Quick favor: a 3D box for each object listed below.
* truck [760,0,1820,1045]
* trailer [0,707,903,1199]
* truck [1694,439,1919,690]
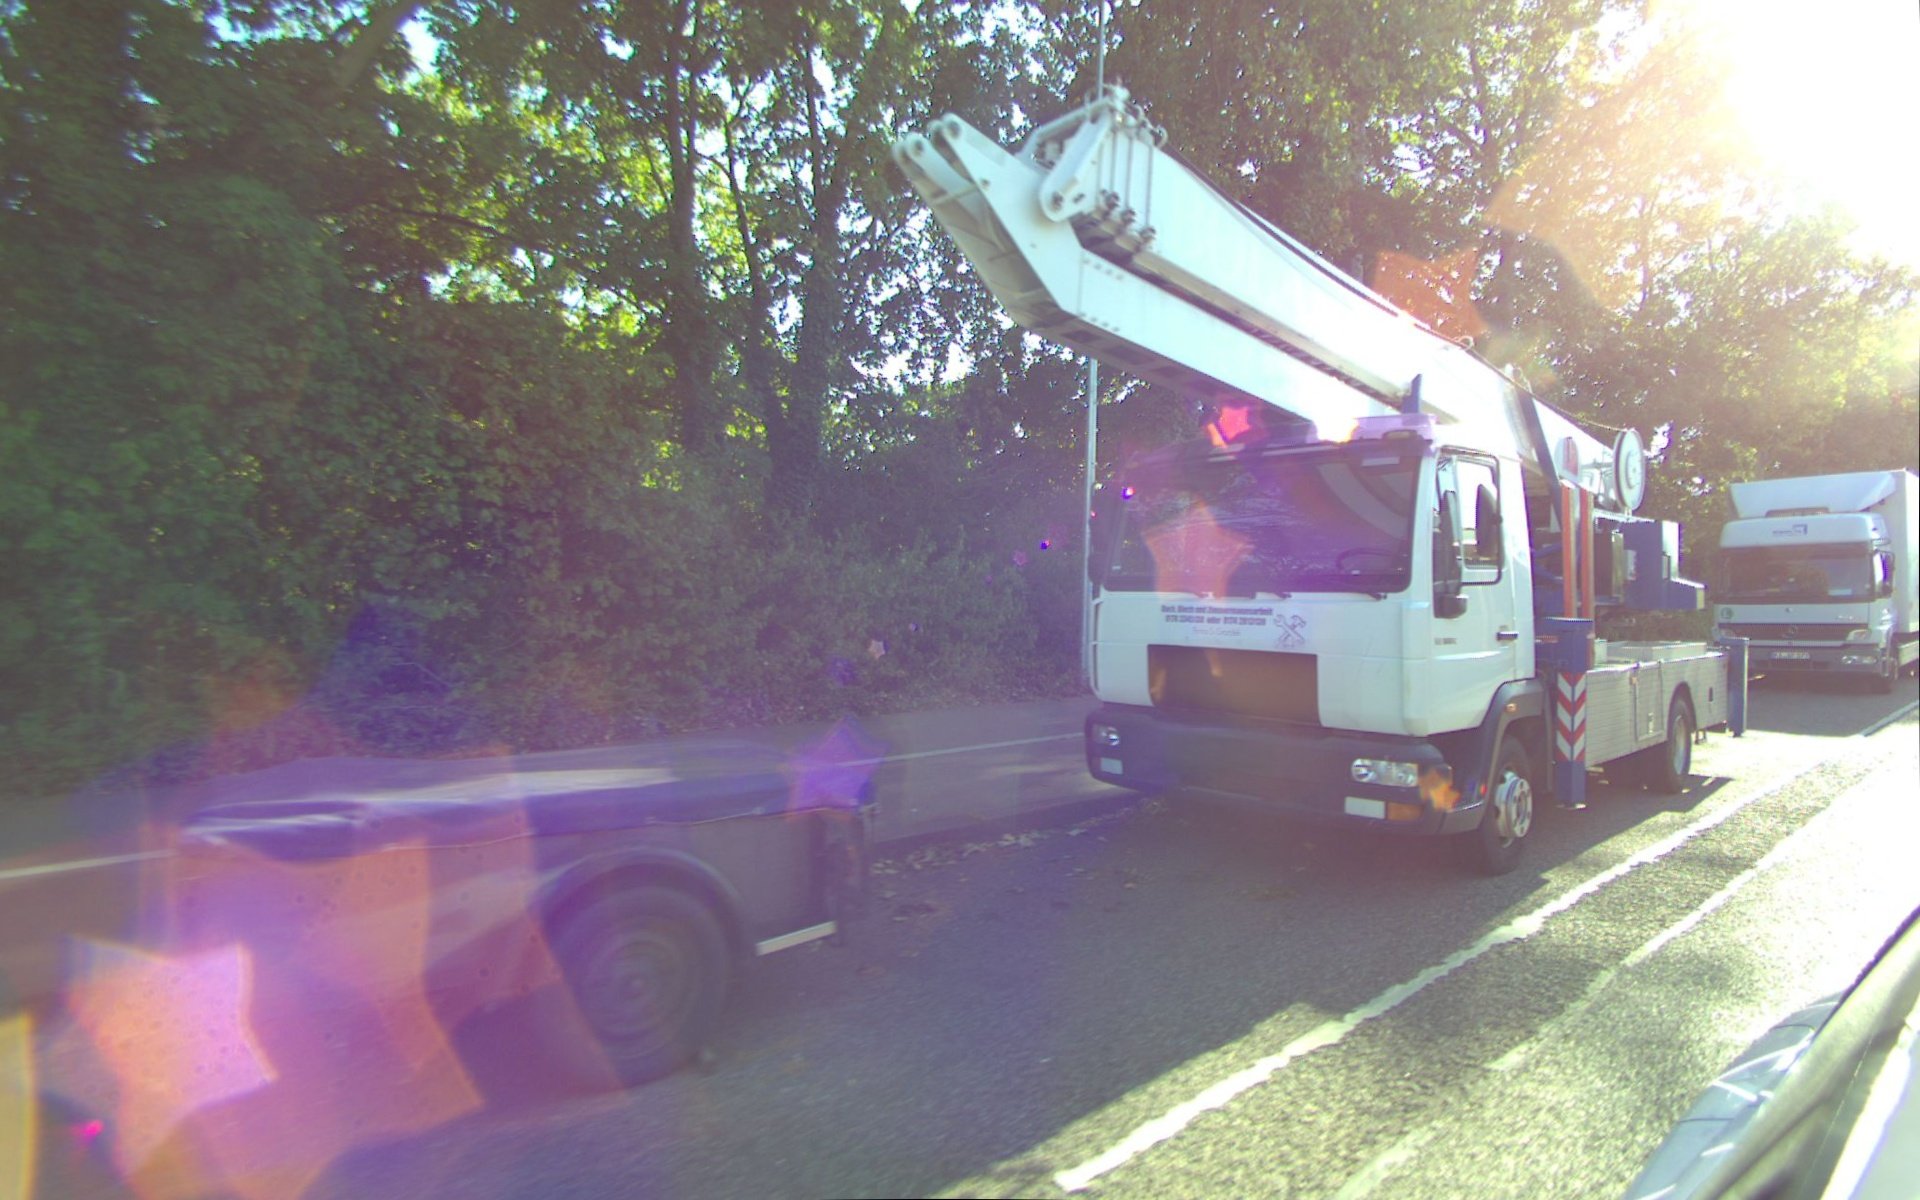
[{"bbox_3d":[3.488,-0.597,7.312,9.591,3.830,2.722,0,2,-41],"label":"truck"},{"bbox_3d":[-2.014,0.961,3.044,3.440,0.870,1.579,0,1,-41],"label":"trailer"},{"bbox_3d":[17.331,-0.556,19.757,9.913,3.831,2.746,0,0,-41],"label":"truck"}]
